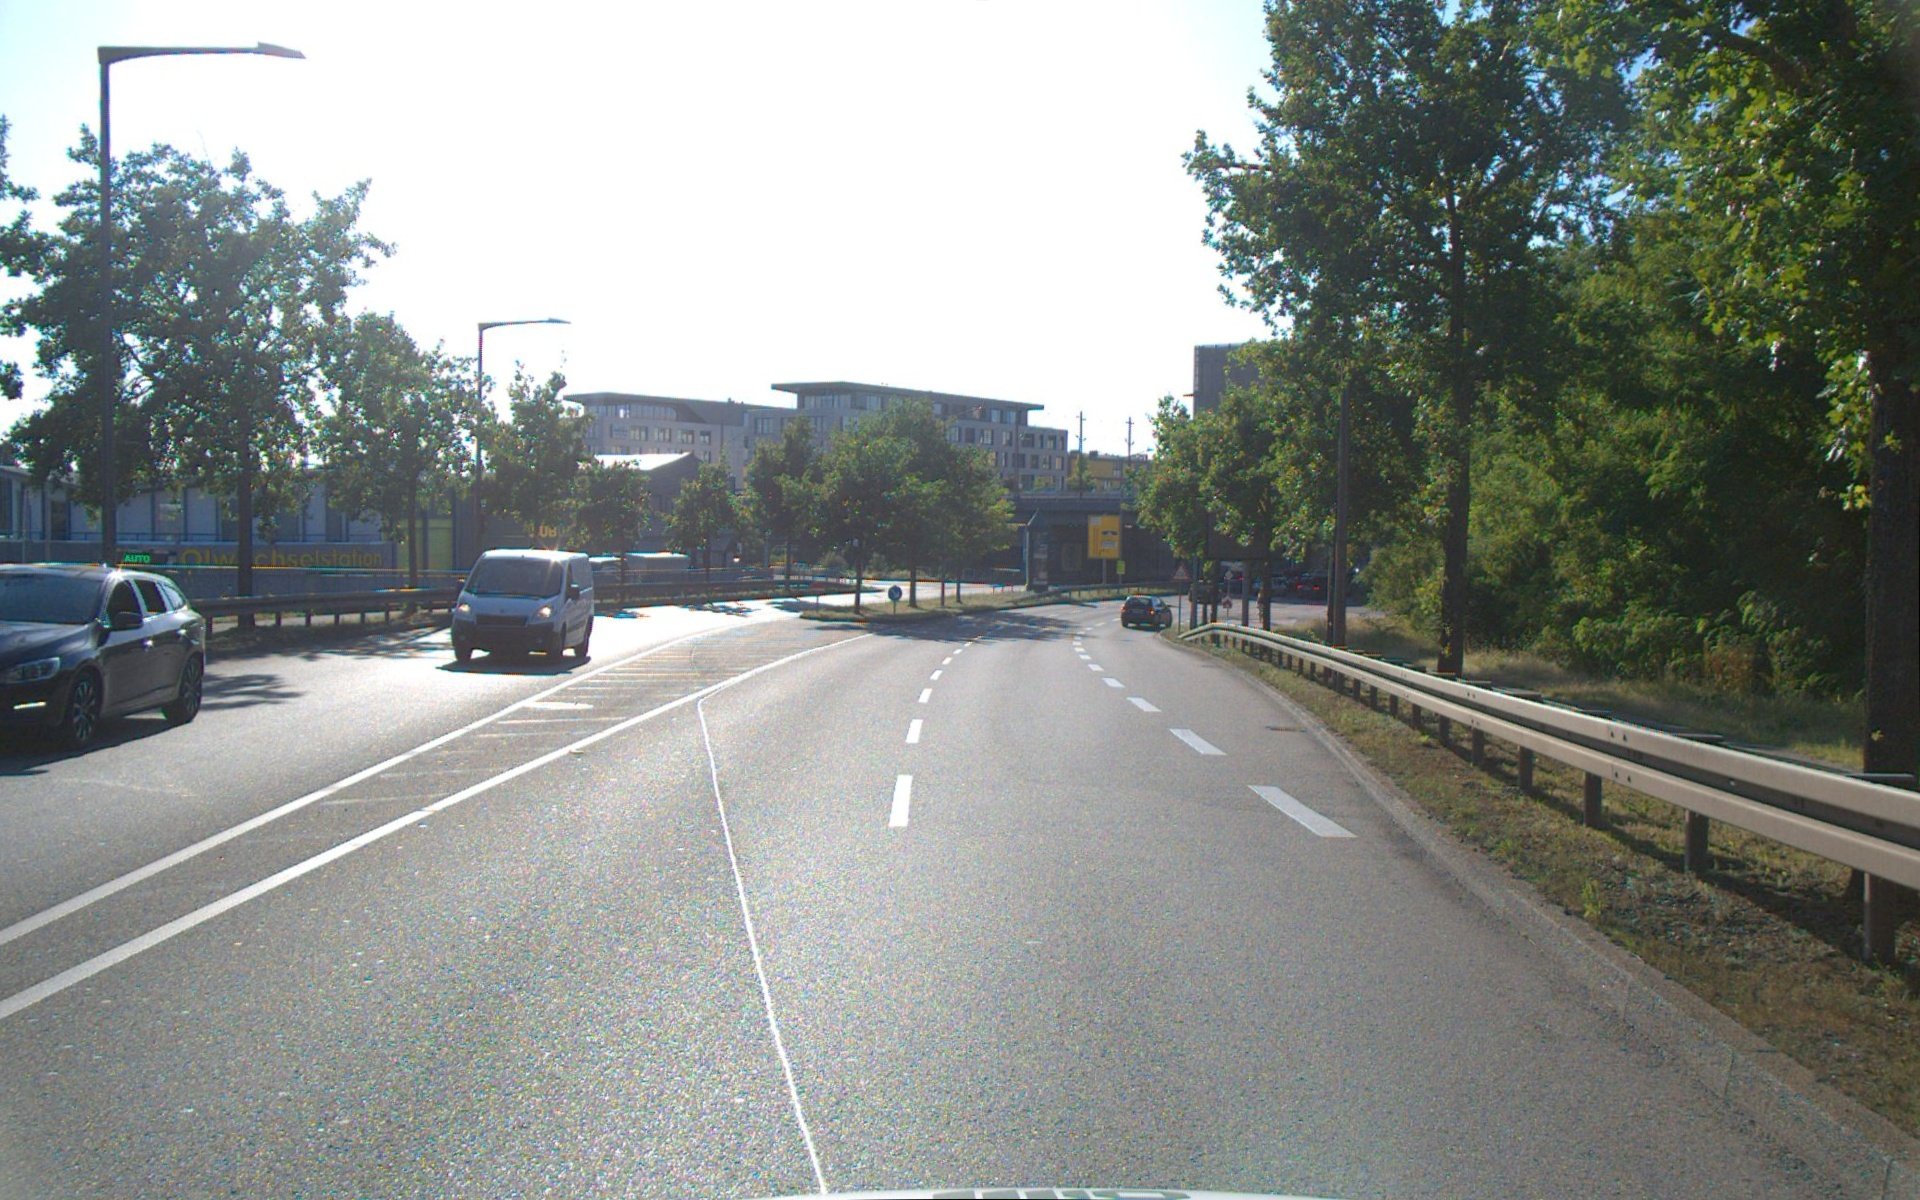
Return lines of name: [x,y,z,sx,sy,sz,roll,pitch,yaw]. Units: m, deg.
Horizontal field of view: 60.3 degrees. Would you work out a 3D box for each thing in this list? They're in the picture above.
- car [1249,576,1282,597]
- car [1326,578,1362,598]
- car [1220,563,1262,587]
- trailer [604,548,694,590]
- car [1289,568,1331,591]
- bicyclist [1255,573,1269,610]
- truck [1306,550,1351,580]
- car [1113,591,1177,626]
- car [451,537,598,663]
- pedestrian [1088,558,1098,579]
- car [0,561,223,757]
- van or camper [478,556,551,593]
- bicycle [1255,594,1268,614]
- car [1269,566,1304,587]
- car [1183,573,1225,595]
car: [23.123,-1.024,125.024,1.517,1.448,3.413,-1,1,28]
car: [30.361,-0.956,130.791,1.739,1.521,3.825,1,1,30]
car: [21.908,-1.973,128.949,1.796,1.768,4.453,2,2,30]
trailer: [-15.915,-1.624,85.091,2.368,2.004,6.612,2,1,10]
car: [26.361,-1.542,124.420,1.708,1.479,4.598,3,4,30]
bicyclist: [16.219,-0.449,88.772,0.667,1.940,0.834,2,2,11]
truck: [32.694,-3.091,146.654,1.992,2.600,5.522,3,2,33]
car: [8.672,0.392,77.225,1.953,1.534,4.000,-1,0,22]
car: [-7.770,-0.018,29.996,1.842,2.049,5.252,1,0,-7]
pedestrian: [12.311,-2.923,153.085,0.682,1.936,0.663,3,2,35]
car: [-8.065,0.409,14.644,1.740,1.491,4.374,1,1,-10]
van or camper: [-24.906,-1.439,92.437,4.154,1.959,1.988,2,0,42]
bicycle: [16.170,0.214,88.660,0.566,0.980,2.889,2,2,11]
car: [27.725,-1.986,140.413,1.805,1.749,3.995,-1,0,27]
car: [16.696,-1.098,113.034,1.552,1.433,3.826,3,2,28]
